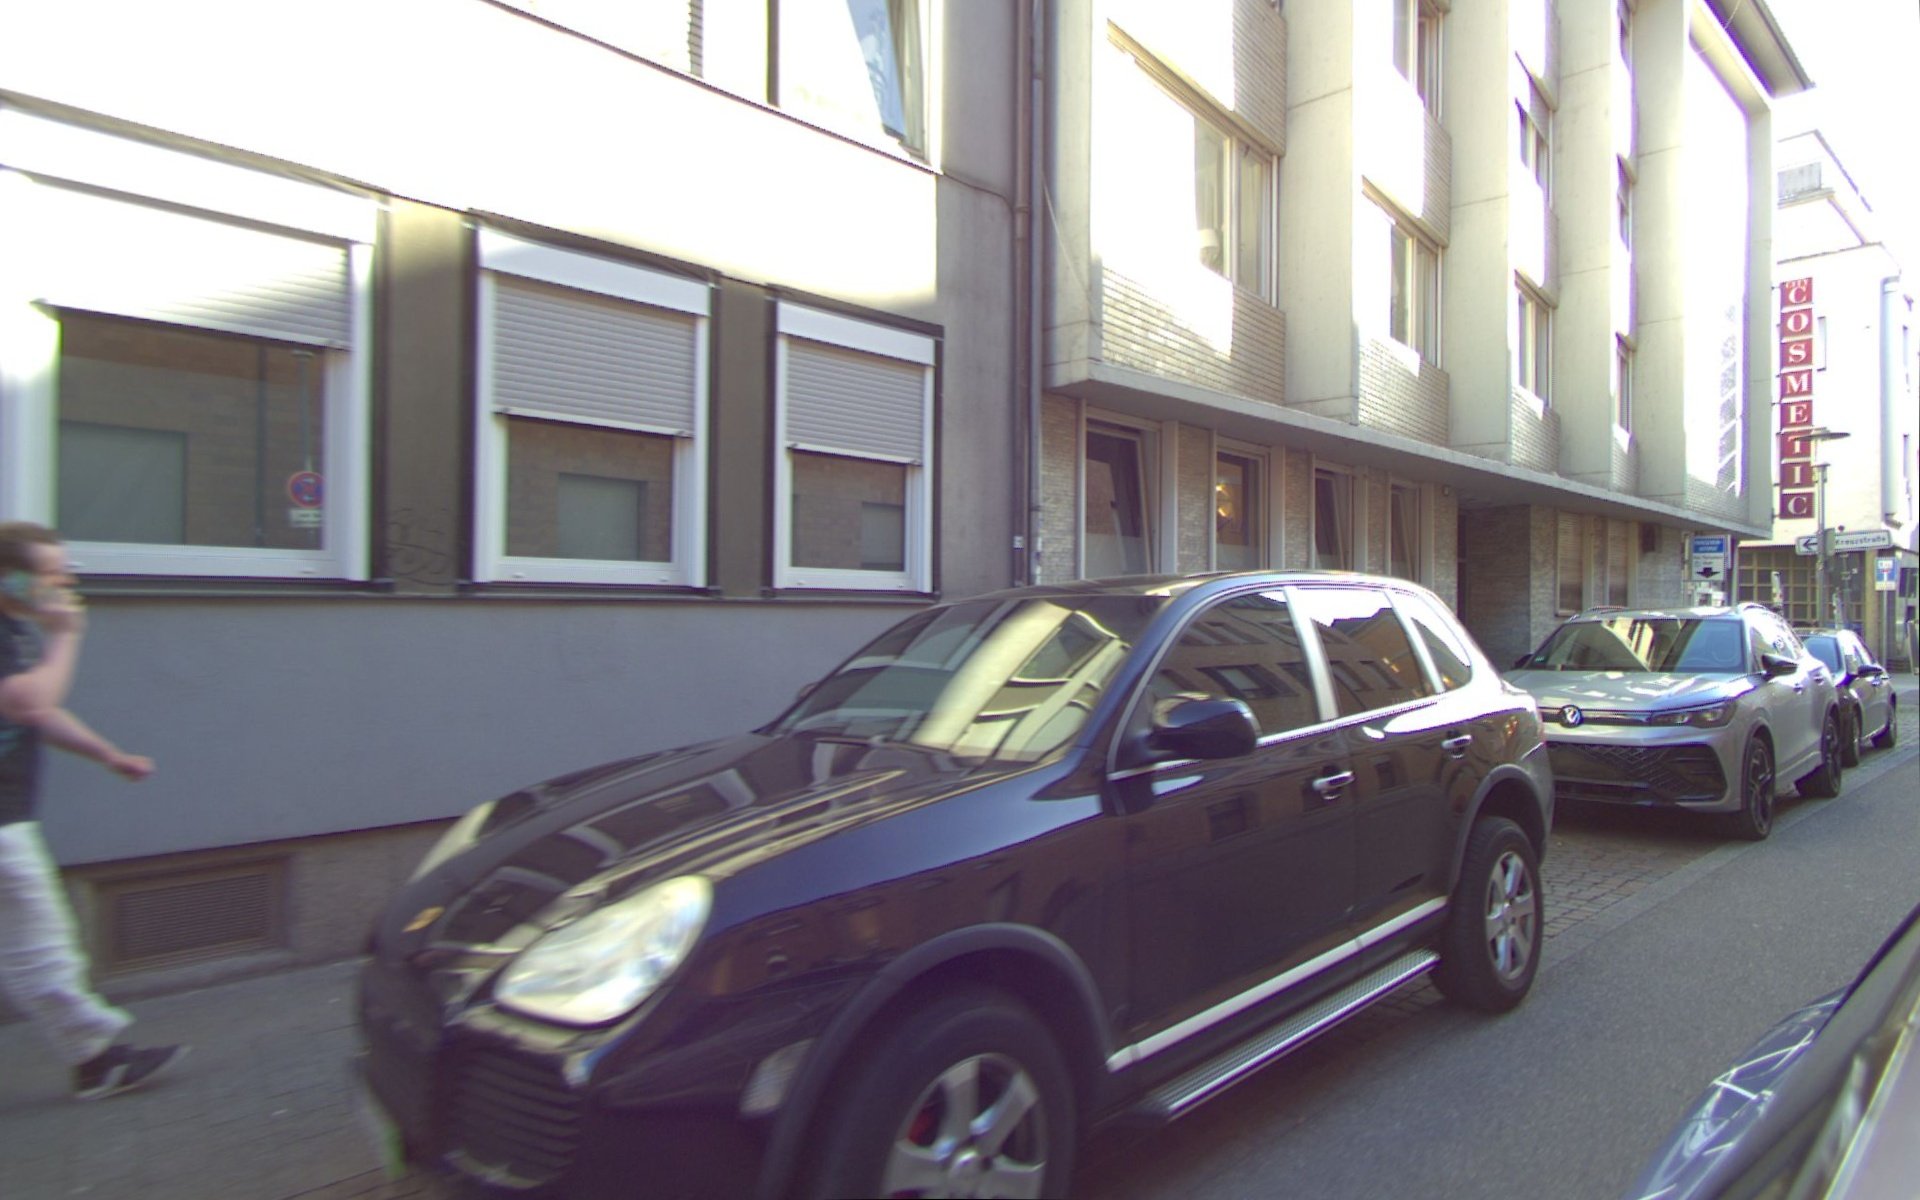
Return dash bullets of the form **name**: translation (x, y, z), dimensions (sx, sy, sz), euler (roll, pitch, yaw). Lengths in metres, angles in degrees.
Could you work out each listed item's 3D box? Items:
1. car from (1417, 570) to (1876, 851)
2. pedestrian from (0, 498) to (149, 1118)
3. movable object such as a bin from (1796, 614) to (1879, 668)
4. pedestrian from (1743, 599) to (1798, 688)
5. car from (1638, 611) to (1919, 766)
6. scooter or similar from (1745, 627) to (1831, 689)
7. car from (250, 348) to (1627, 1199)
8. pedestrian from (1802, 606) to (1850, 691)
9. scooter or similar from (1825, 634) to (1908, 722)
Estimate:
- **car**: translation (5.971, 0.738, 8.555), dimensions (4.757, 1.724, 1.997), euler (1, -2, -41)
- **pedestrian**: translation (-2.980, 0.569, 3.087), dimensions (0.733, 1.742, 0.790), euler (2, 1, -41)
- **movable object such as a bin**: translation (25.149, 1.168, 29.037), dimensions (1.411, 1.481, 1.126), euler (1, -1, 9)
- **pedestrian**: translation (16.340, 0.867, 20.414), dimensions (0.611, 1.758, 0.626), euler (1, -1, 4)
- **car**: translation (9.940, 0.942, 12.099), dimensions (4.517, 1.524, 1.826), euler (1, -3, -40)
- **scooter or similar**: translation (17.200, 1.184, 21.036), dimensions (1.026, 1.191, 0.871), euler (3, 0, 3)
- **car**: translation (0.461, 0.597, 3.812), dimensions (4.961, 1.809, 2.107), euler (1, -2, -40)
- **pedestrian**: translation (16.425, 0.902, 19.210), dimensions (0.570, 1.560, 0.436), euler (3, 1, 34)
- **scooter or similar**: translation (13.531, 1.141, 15.137), dimensions (0.488, 1.209, 1.297), euler (1, 0, 21)
